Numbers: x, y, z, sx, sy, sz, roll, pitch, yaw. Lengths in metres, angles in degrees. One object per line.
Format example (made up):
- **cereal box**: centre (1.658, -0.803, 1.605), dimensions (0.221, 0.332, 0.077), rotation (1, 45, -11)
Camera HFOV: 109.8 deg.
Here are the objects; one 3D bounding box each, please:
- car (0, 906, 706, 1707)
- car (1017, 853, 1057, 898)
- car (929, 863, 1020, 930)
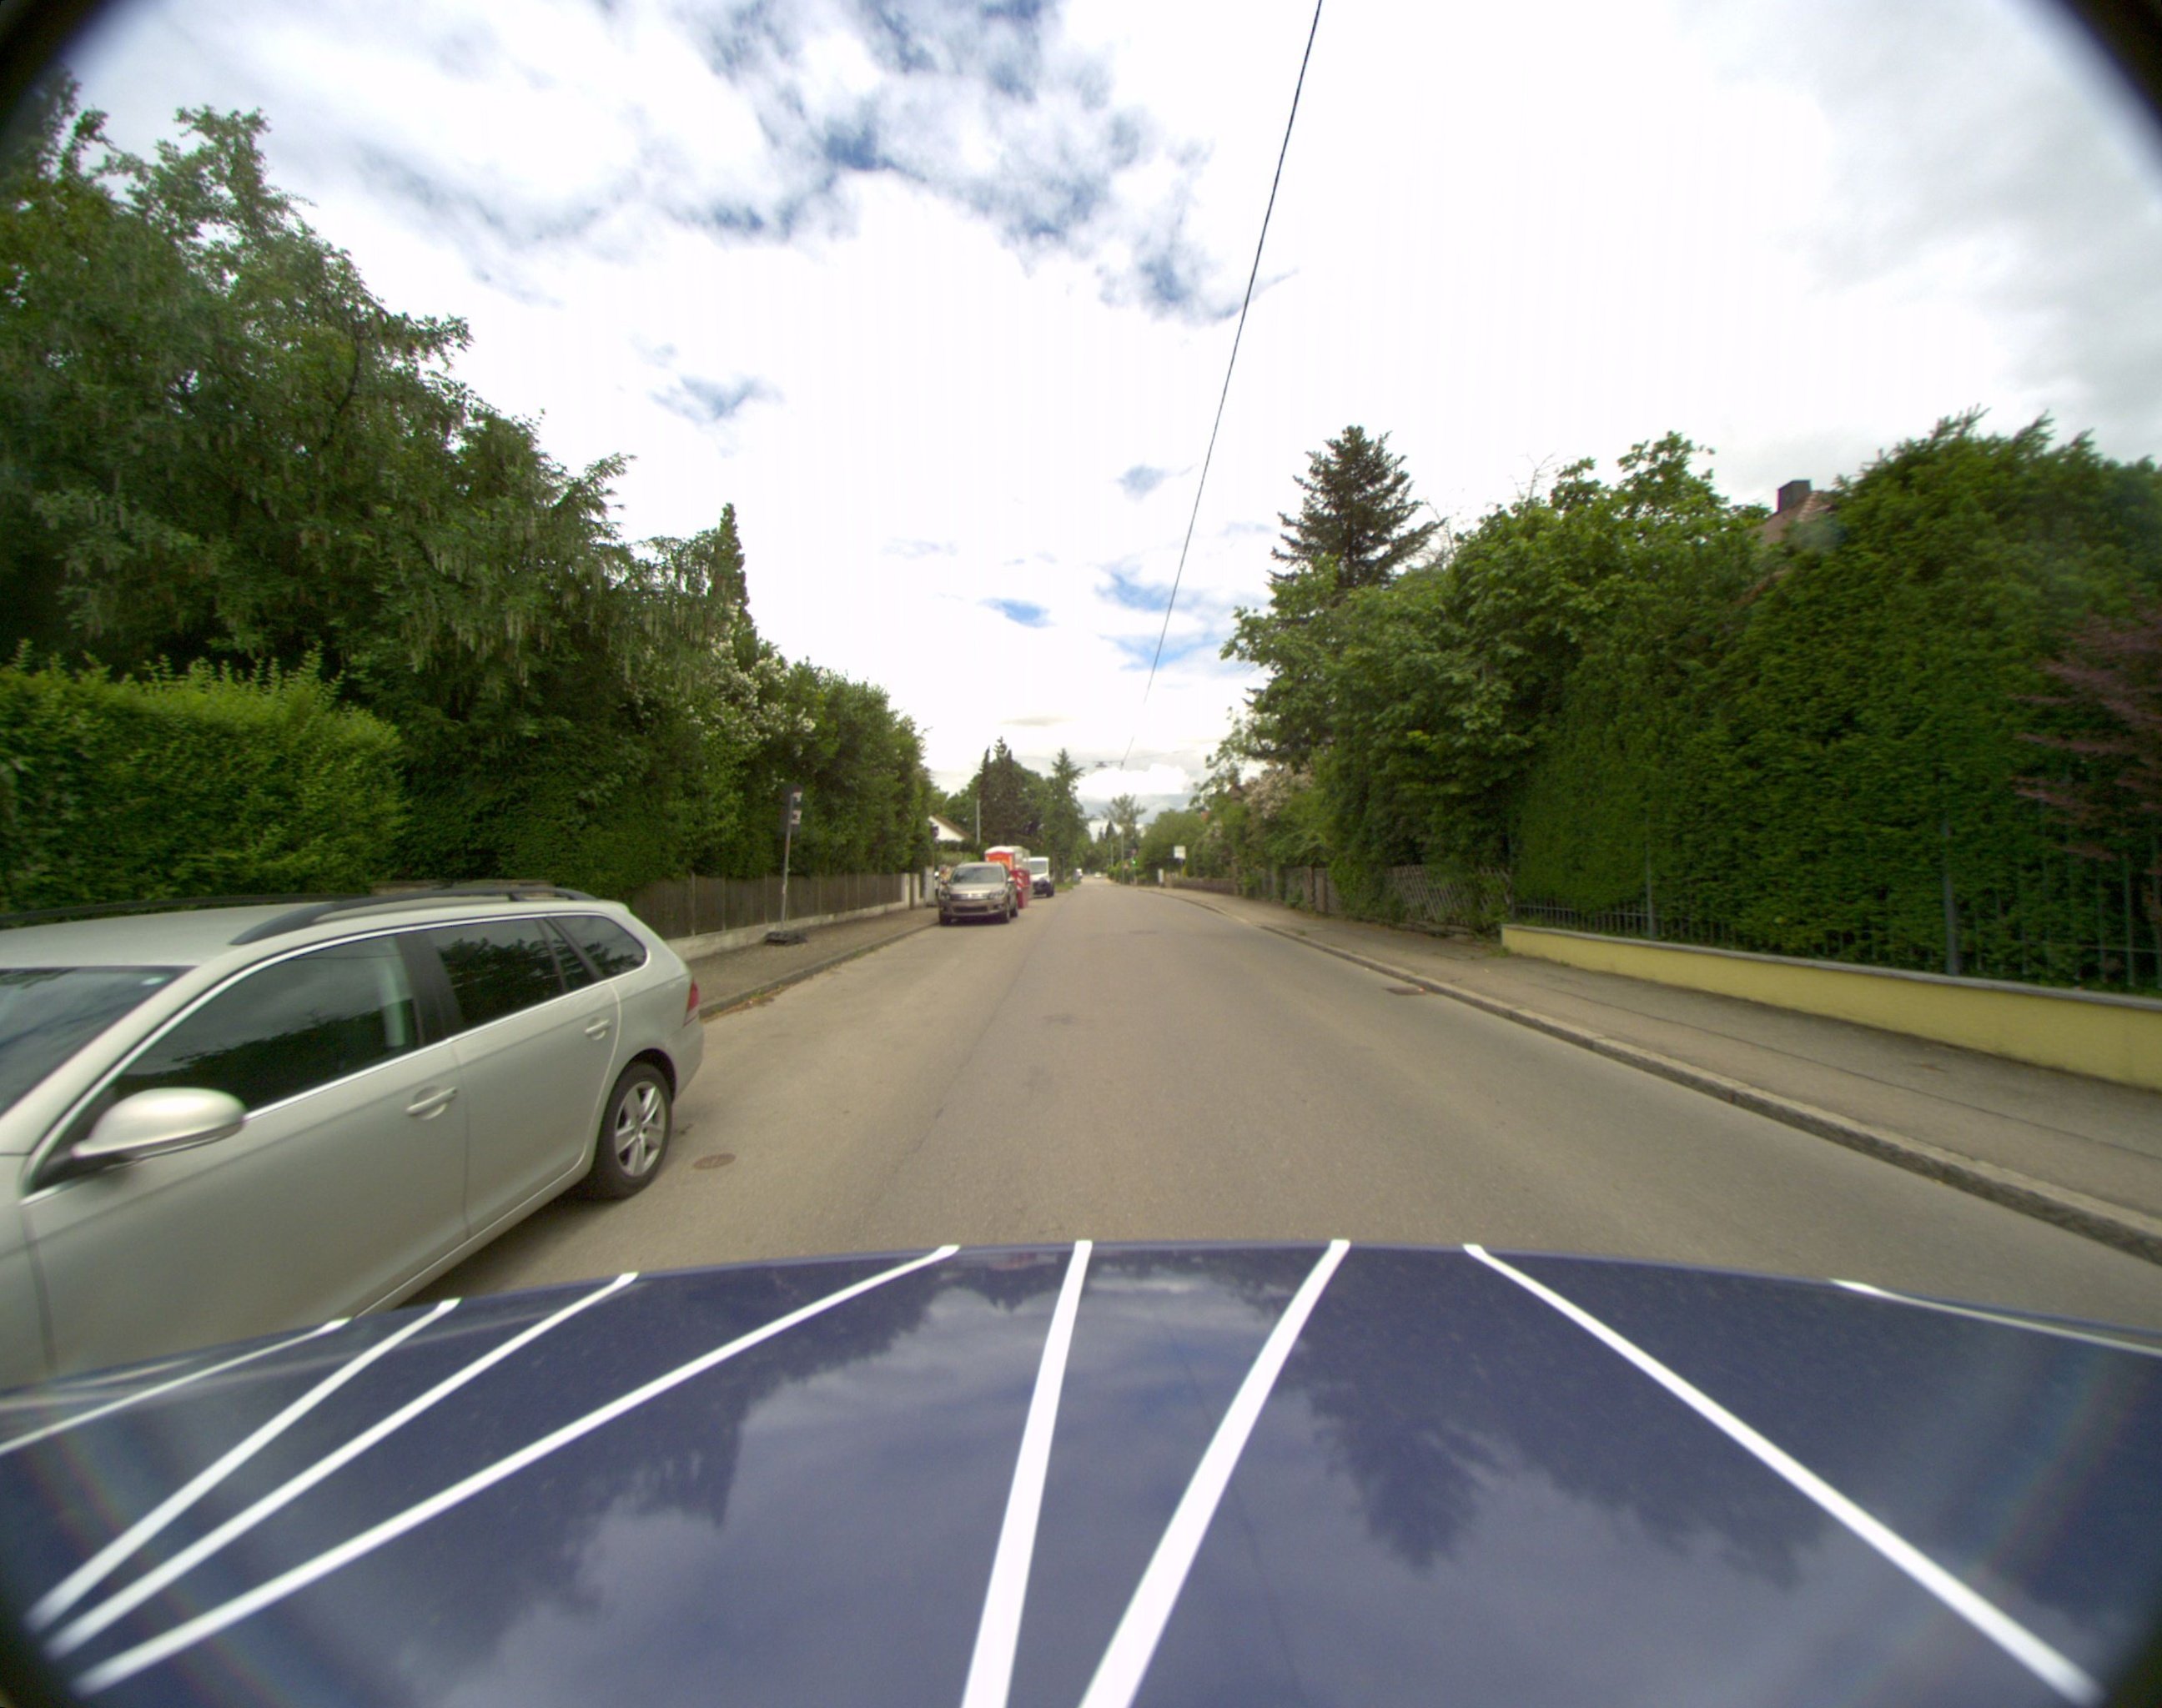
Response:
- **car**: centre (-3.005, 1.052, 2.173), dimensions (1.761, 1.468, 4.357), rotation (-2, 0, -2)
- **car**: centre (-2.342, 1.122, 41.635), dimensions (1.854, 2.211, 5.367), rotation (-3, 0, -1)
- **car**: centre (-2.824, 1.089, 21.084), dimensions (1.878, 1.622, 4.126), rotation (-2, -1, 0)
